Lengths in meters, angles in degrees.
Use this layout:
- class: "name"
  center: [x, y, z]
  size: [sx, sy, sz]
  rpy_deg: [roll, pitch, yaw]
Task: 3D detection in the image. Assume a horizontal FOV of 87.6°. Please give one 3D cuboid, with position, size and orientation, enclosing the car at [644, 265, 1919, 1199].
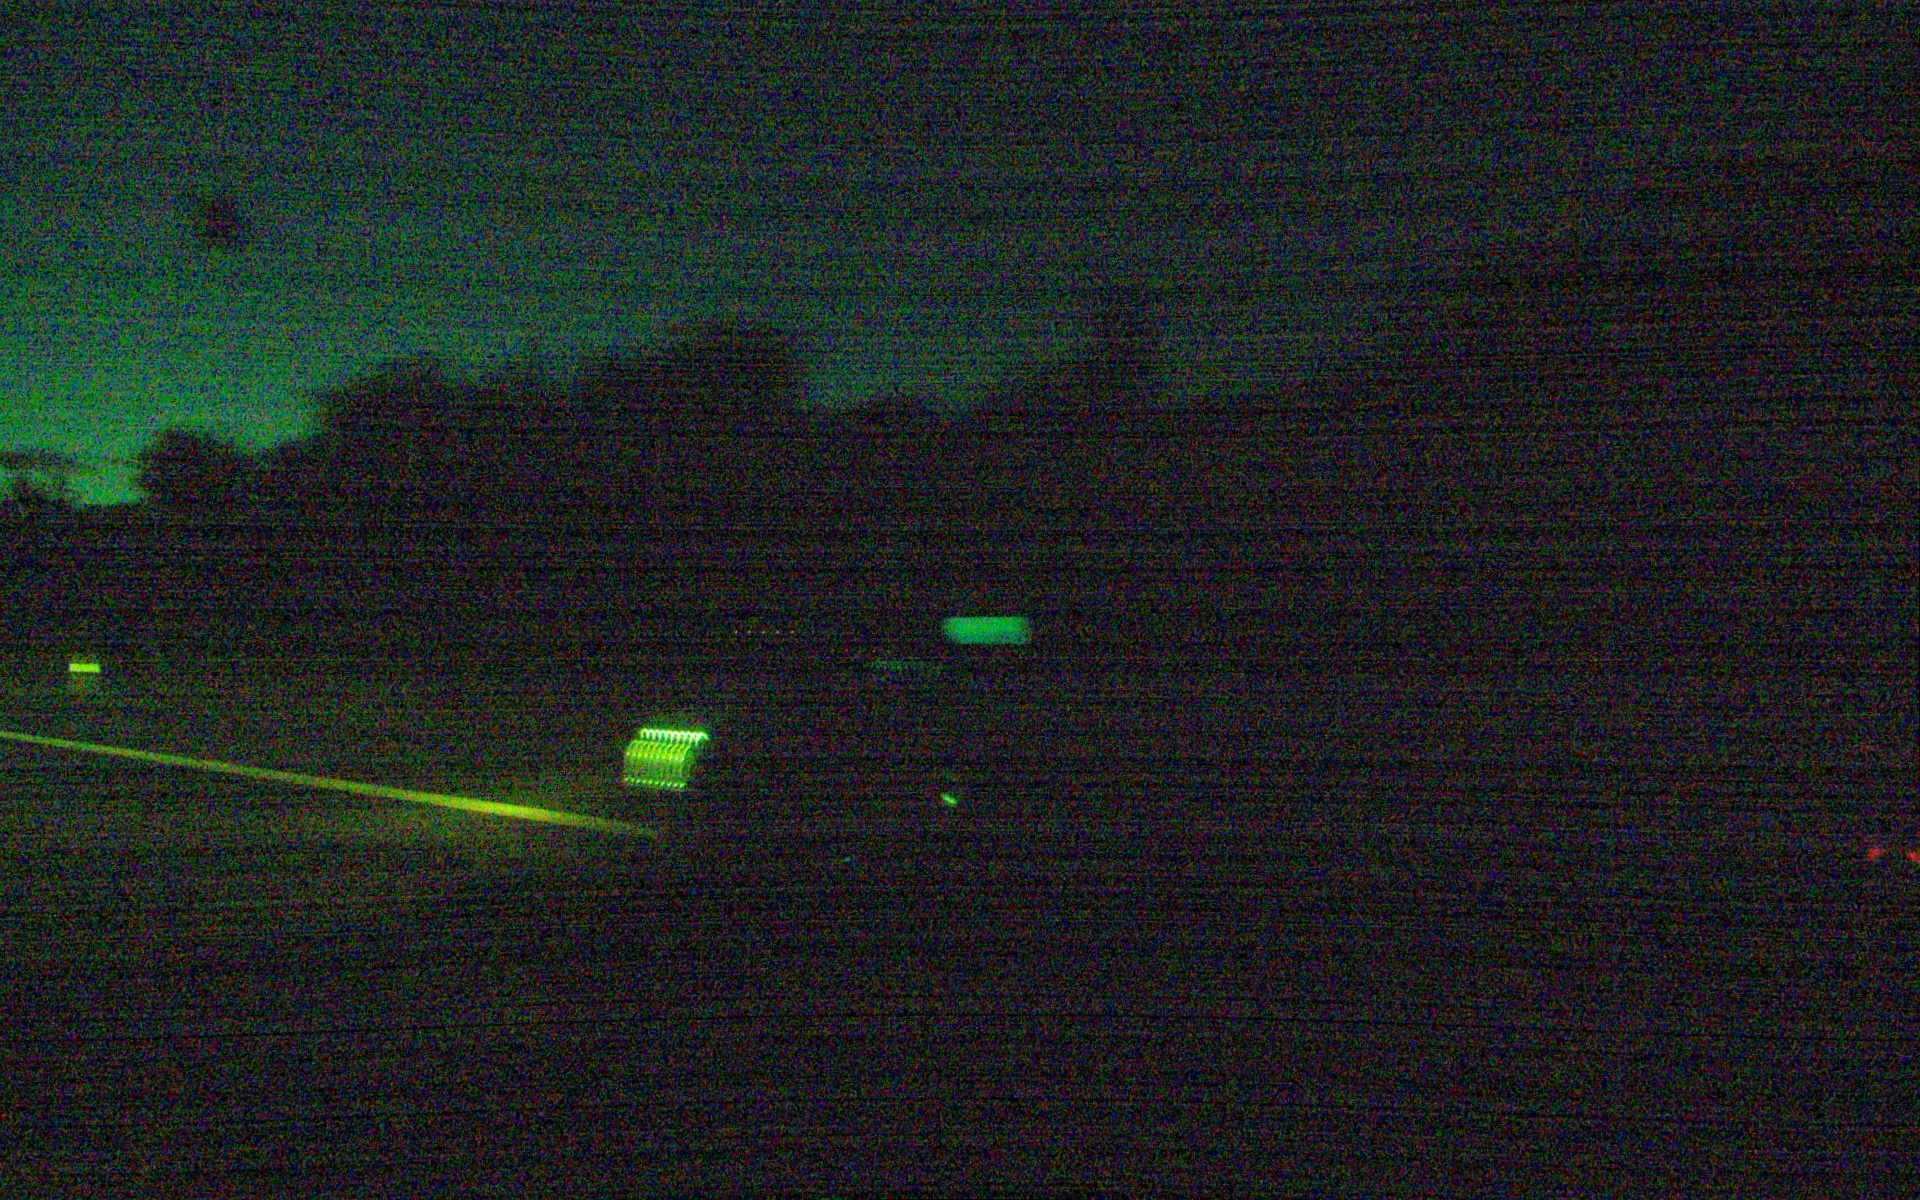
- class: "car"
  center: [1.807, 0.478, 2.830]
  size: [5.585, 2.026, 2.111]
  rpy_deg: [-1, -1, 33]
